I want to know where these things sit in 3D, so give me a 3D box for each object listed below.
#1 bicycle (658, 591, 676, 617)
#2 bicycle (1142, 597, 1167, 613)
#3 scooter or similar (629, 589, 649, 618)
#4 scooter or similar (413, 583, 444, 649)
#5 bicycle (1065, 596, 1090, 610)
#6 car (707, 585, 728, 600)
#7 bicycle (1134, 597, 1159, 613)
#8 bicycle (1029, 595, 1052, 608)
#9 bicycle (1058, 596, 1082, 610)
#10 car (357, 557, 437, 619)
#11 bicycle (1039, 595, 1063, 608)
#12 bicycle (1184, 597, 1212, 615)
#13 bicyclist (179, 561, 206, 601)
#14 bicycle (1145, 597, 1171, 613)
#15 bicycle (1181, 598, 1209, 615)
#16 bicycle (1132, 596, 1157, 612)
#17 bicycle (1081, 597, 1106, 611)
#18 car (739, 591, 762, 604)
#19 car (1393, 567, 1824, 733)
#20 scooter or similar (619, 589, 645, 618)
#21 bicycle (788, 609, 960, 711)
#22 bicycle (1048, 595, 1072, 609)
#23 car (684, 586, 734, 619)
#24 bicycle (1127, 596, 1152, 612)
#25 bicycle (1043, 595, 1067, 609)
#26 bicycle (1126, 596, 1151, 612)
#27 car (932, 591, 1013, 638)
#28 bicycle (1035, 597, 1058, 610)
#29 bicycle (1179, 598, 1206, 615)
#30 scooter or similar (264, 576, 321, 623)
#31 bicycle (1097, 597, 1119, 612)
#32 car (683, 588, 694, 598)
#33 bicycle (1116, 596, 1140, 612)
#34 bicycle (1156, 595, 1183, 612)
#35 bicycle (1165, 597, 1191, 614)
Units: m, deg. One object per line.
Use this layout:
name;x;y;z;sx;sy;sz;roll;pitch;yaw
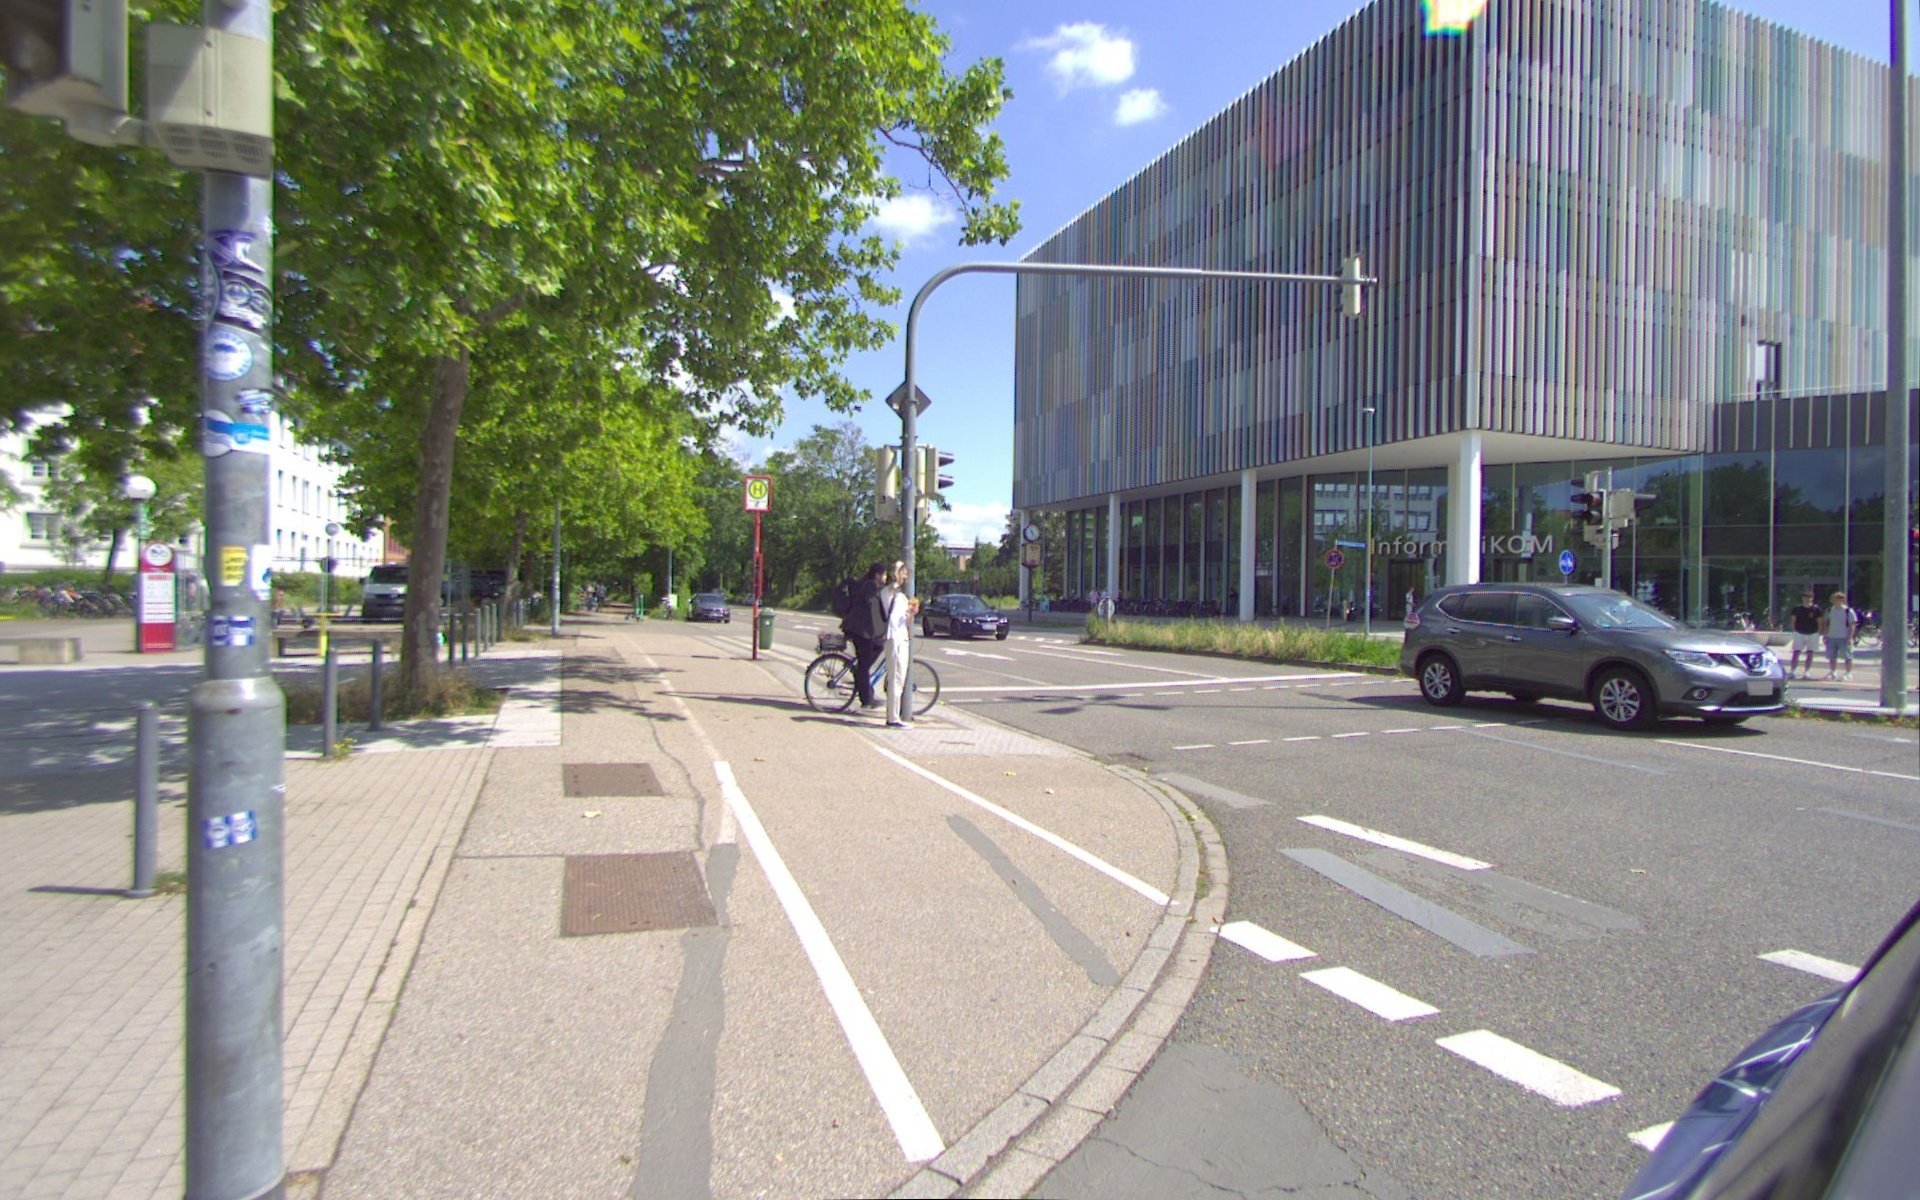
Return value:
bicycle;-14.171;0.178;48.897;0.626;1.206;2.123;2;-1;-21
bicycle;12.081;0.301;62.869;1.515;0.967;0.374;-1;1;-6
scooter or similar;-13.954;0.153;43.983;0.519;1.184;1.577;2;-1;-8
scooter or similar;-9.800;0.275;18.686;0.346;1.180;1.195;-1;1;-21
bicycle;8.487;0.201;73.185;1.748;0.967;0.434;-1;1;-21
car;-32.728;-1.011;136.563;1.864;1.834;4.741;2;0;-23
bicycle;11.745;0.292;63.652;1.515;0.967;0.374;-1;1;-6
bicycle;6.220;0.144;78.554;1.748;0.967;0.434;-1;1;-21
bicycle;8.018;0.193;74.009;1.748;0.967;0.434;-1;1;-21
car;-18.649;-0.418;33.724;1.864;1.888;4.951;0;1;-24
bicycle;6.927;0.138;76.909;1.748;0.967;0.434;-1;1;-21
bicycle;13.745;0.340;58.400;1.515;0.967;0.374;-1;1;-6
bicyclist;-25.849;-0.640;34.101;0.596;1.337;0.743;2;0;-30
bicycle;12.095;0.302;61.770;1.515;0.967;0.374;-1;1;-6
bicycle;13.707;0.374;58.984;1.515;0.967;0.374;-1;1;-6
bicycle;11.722;0.242;64.208;1.515;0.967;0.374;-1;1;-6
bicycle;9.331;0.276;70.766;1.748;0.967;0.434;-1;1;-21
car;-22.665;-0.283;109.510;1.958;1.438;4.009;1;1;-18
car;7.776;0.502;12.764;1.787;1.700;4.487;0;0;-17
scooter or similar;-14.929;0.165;46.103;0.522;1.262;1.284;2;-1;13
bicycle;-1.047;0.734;12.349;1.851;1.086;0.820;4;0;-24
bicycle;7.438;0.165;75.235;1.748;0.967;0.434;-1;1;-21
car;-12.760;0.133;51.313;1.823;1.497;4.951;3;-1;-21
bicycle;11.465;0.263;64.798;1.515;0.967;0.374;-1;1;-6
bicycle;7.167;0.139;76.325;1.748;0.967;0.434;-1;1;-21
bicycle;11.488;0.269;65.224;1.515;0.967;0.374;-1;1;-6
car;0.342;0.439;33.716;1.792;1.433;4.199;0;1;-13
bicycle;6.619;0.263;77.629;1.748;0.967;0.434;-1;1;-21
bicycle;13.684;0.356;59.664;1.515;0.967;0.374;-1;1;-6
scooter or similar;-18.092;-0.022;27.438;1.274;1.248;0.281;0;2;-36
bicycle;9.771;0.276;66.777;1.516;0.967;0.374;-1;1;-32
car;-46.002;-1.200;171.384;1.860;1.530;3.837;-1;1;-16
bicycle;11.031;0.261;66.362;1.515;0.967;0.374;-1;1;-6
bicycle;12.655;0.216;61.151;1.515;0.967;0.374;-1;1;-6
bicycle;13.086;0.333;60.712;1.515;0.967;0.374;-1;1;-6
